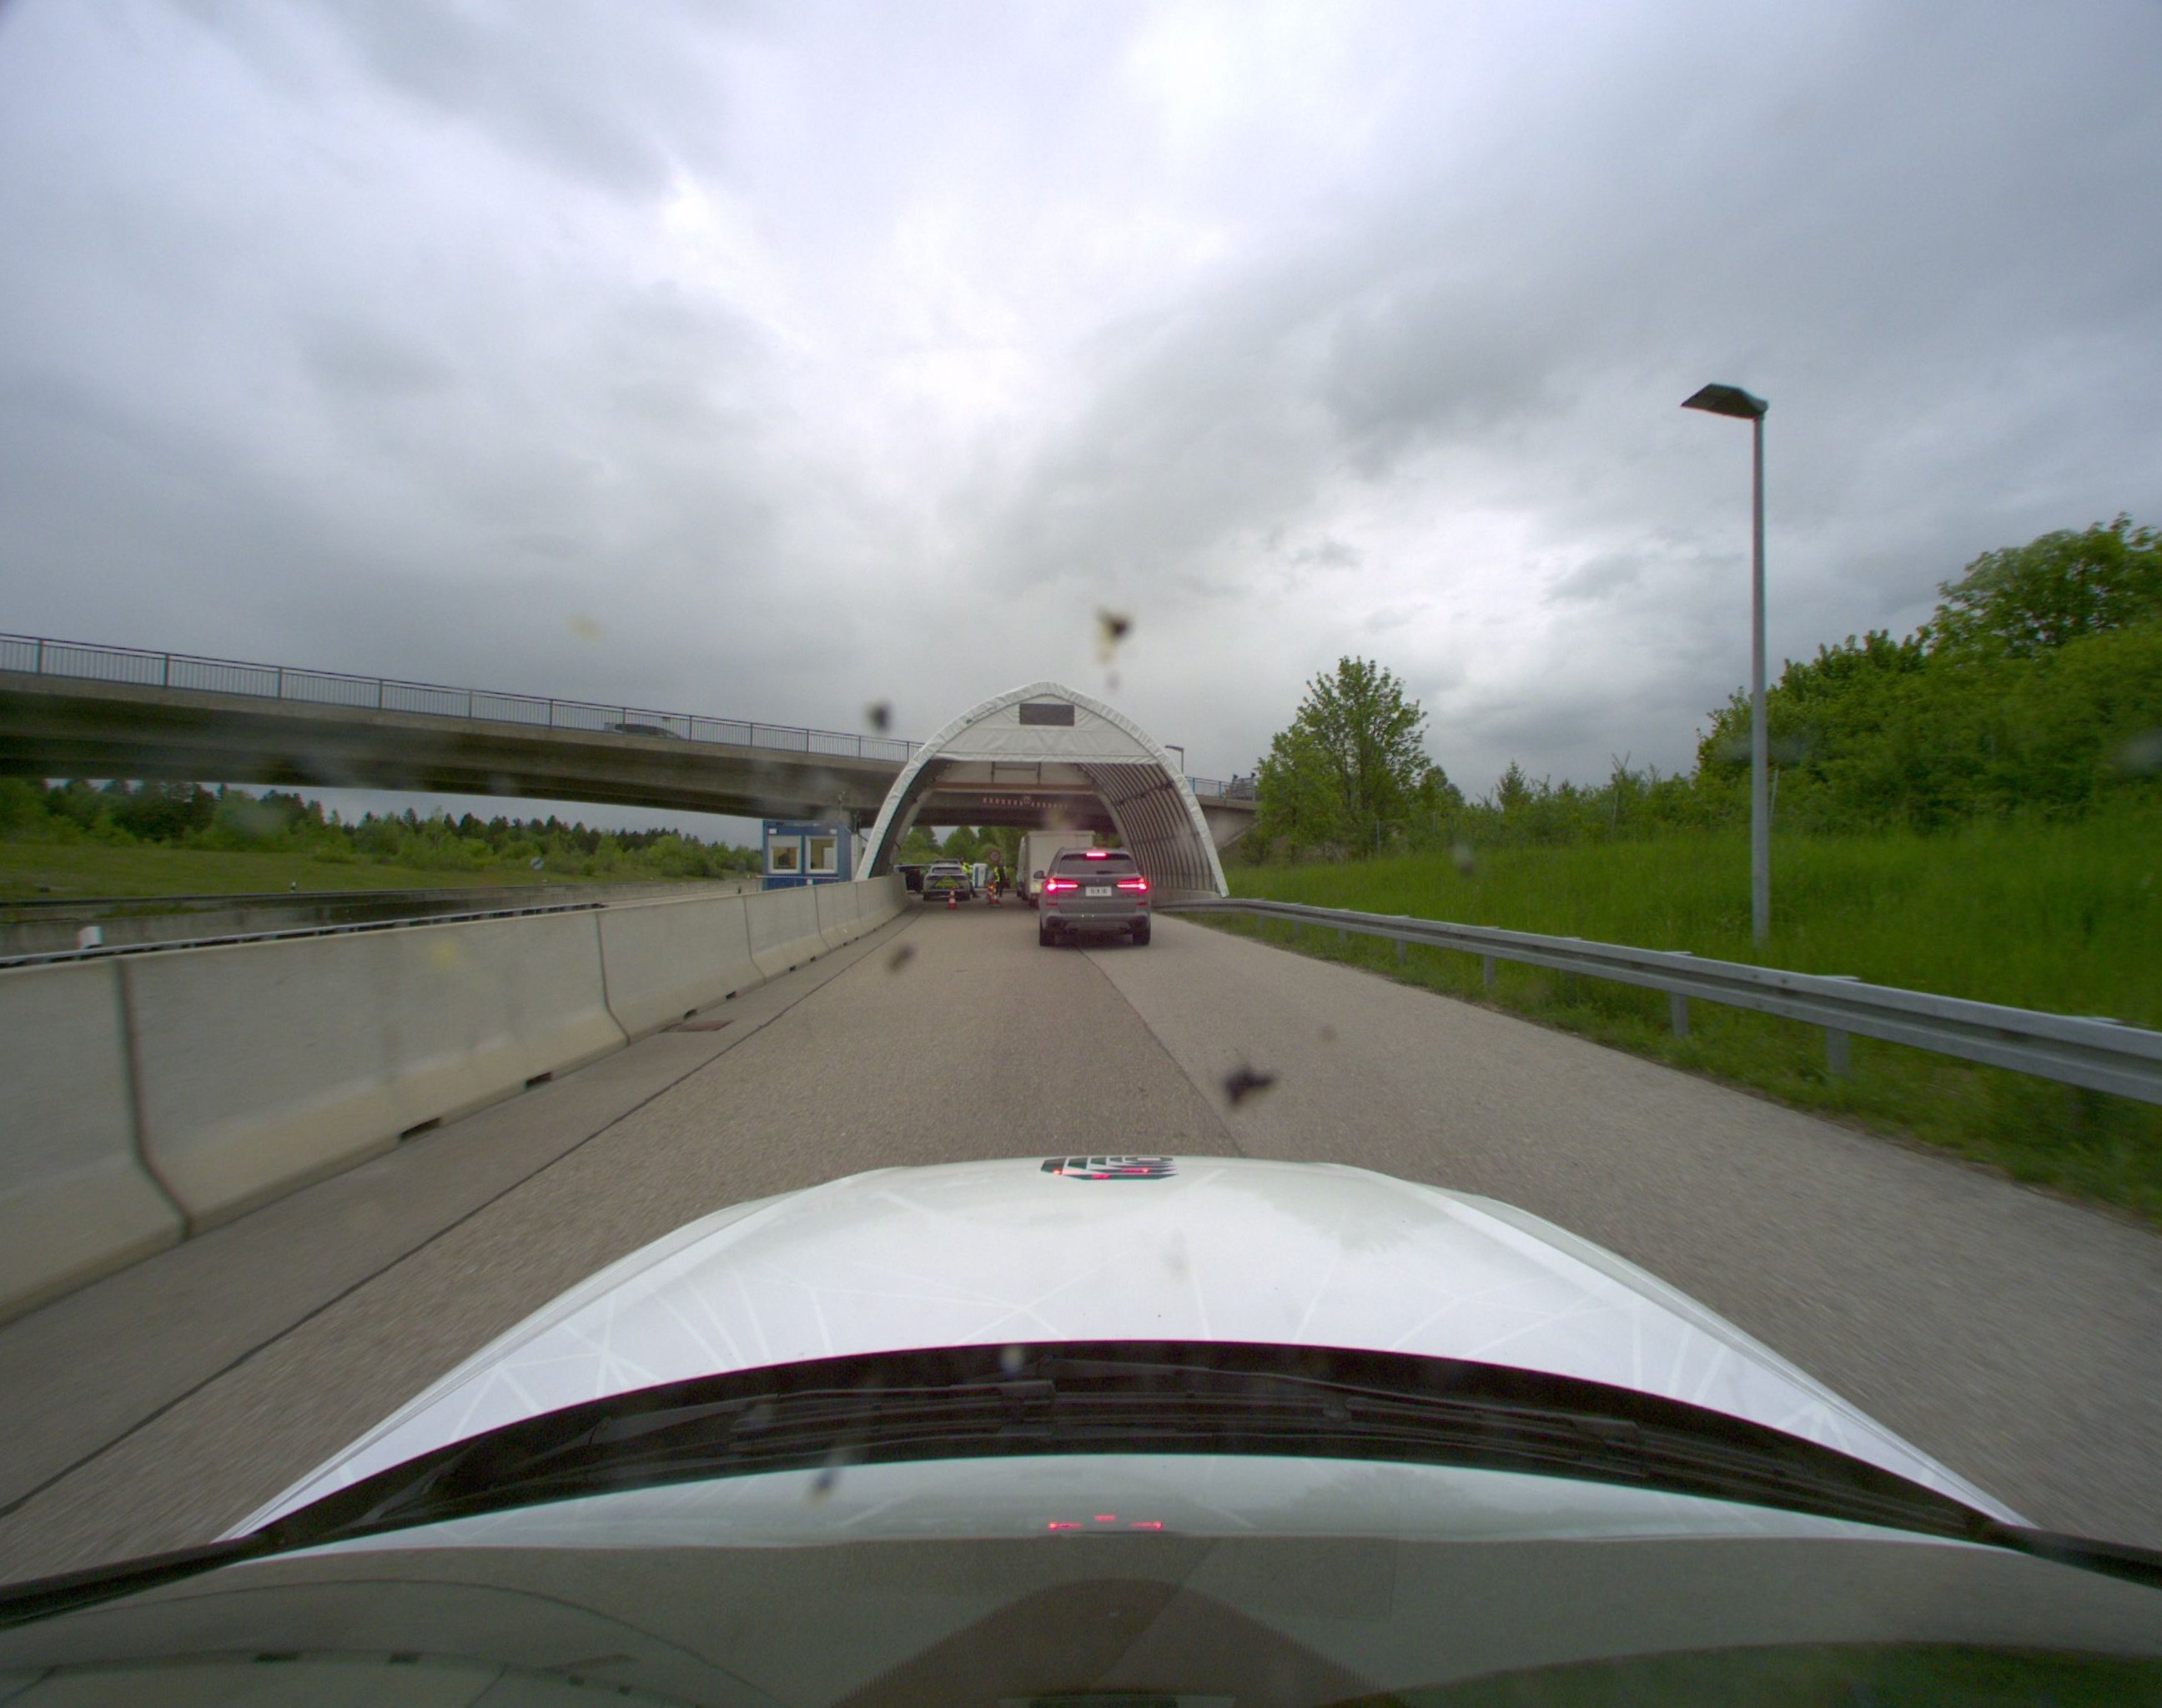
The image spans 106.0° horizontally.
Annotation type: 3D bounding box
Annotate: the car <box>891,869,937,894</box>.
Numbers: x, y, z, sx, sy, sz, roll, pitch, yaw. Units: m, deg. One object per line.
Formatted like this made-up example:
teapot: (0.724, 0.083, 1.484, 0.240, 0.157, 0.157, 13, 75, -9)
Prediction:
car: (-10.191, 1.654, 49.552, 1.526, 1.442, 3.280, 0, -1, -35)

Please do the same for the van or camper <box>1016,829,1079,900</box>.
van or camper: (-1.547, 0.491, 34.799, 2.155, 2.764, 5.854, -1, -2, -8)

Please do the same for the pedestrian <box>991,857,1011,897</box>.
pedestrian: (-3.672, 1.055, 37.162, 0.654, 1.776, 0.598, 0, -2, -43)

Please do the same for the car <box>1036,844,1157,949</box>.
car: (0.194, 0.753, 15.597, 1.988, 1.720, 3.996, -1, -1, -2)

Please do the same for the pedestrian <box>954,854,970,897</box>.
pedestrian: (-5.481, 0.990, 37.523, 0.720, 1.945, 0.688, -1, -1, -9)

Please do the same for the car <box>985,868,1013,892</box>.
car: (-6.664, 2.107, 65.939, 1.706, 1.854, 3.980, -1, -1, -14)

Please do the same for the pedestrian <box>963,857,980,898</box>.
pedestrian: (-4.911, 1.050, 36.451, 0.720, 1.776, 0.688, -1, -1, -9)

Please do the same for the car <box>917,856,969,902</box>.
car: (-5.748, 1.005, 34.027, 1.993, 1.772, 3.753, -1, -1, -9)

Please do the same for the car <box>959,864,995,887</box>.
car: (-9.666, 1.983, 75.526, 2.005, 2.014, 3.963, 0, -1, -28)

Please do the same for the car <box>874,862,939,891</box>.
car: (-12.127, 1.548, 56.702, 3.966, 1.854, 1.712, -2, -1, 6)

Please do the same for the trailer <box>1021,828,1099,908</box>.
trailer: (-0.891, 0.534, 28.447, 2.276, 2.431, 6.803, -1, -2, -5)
